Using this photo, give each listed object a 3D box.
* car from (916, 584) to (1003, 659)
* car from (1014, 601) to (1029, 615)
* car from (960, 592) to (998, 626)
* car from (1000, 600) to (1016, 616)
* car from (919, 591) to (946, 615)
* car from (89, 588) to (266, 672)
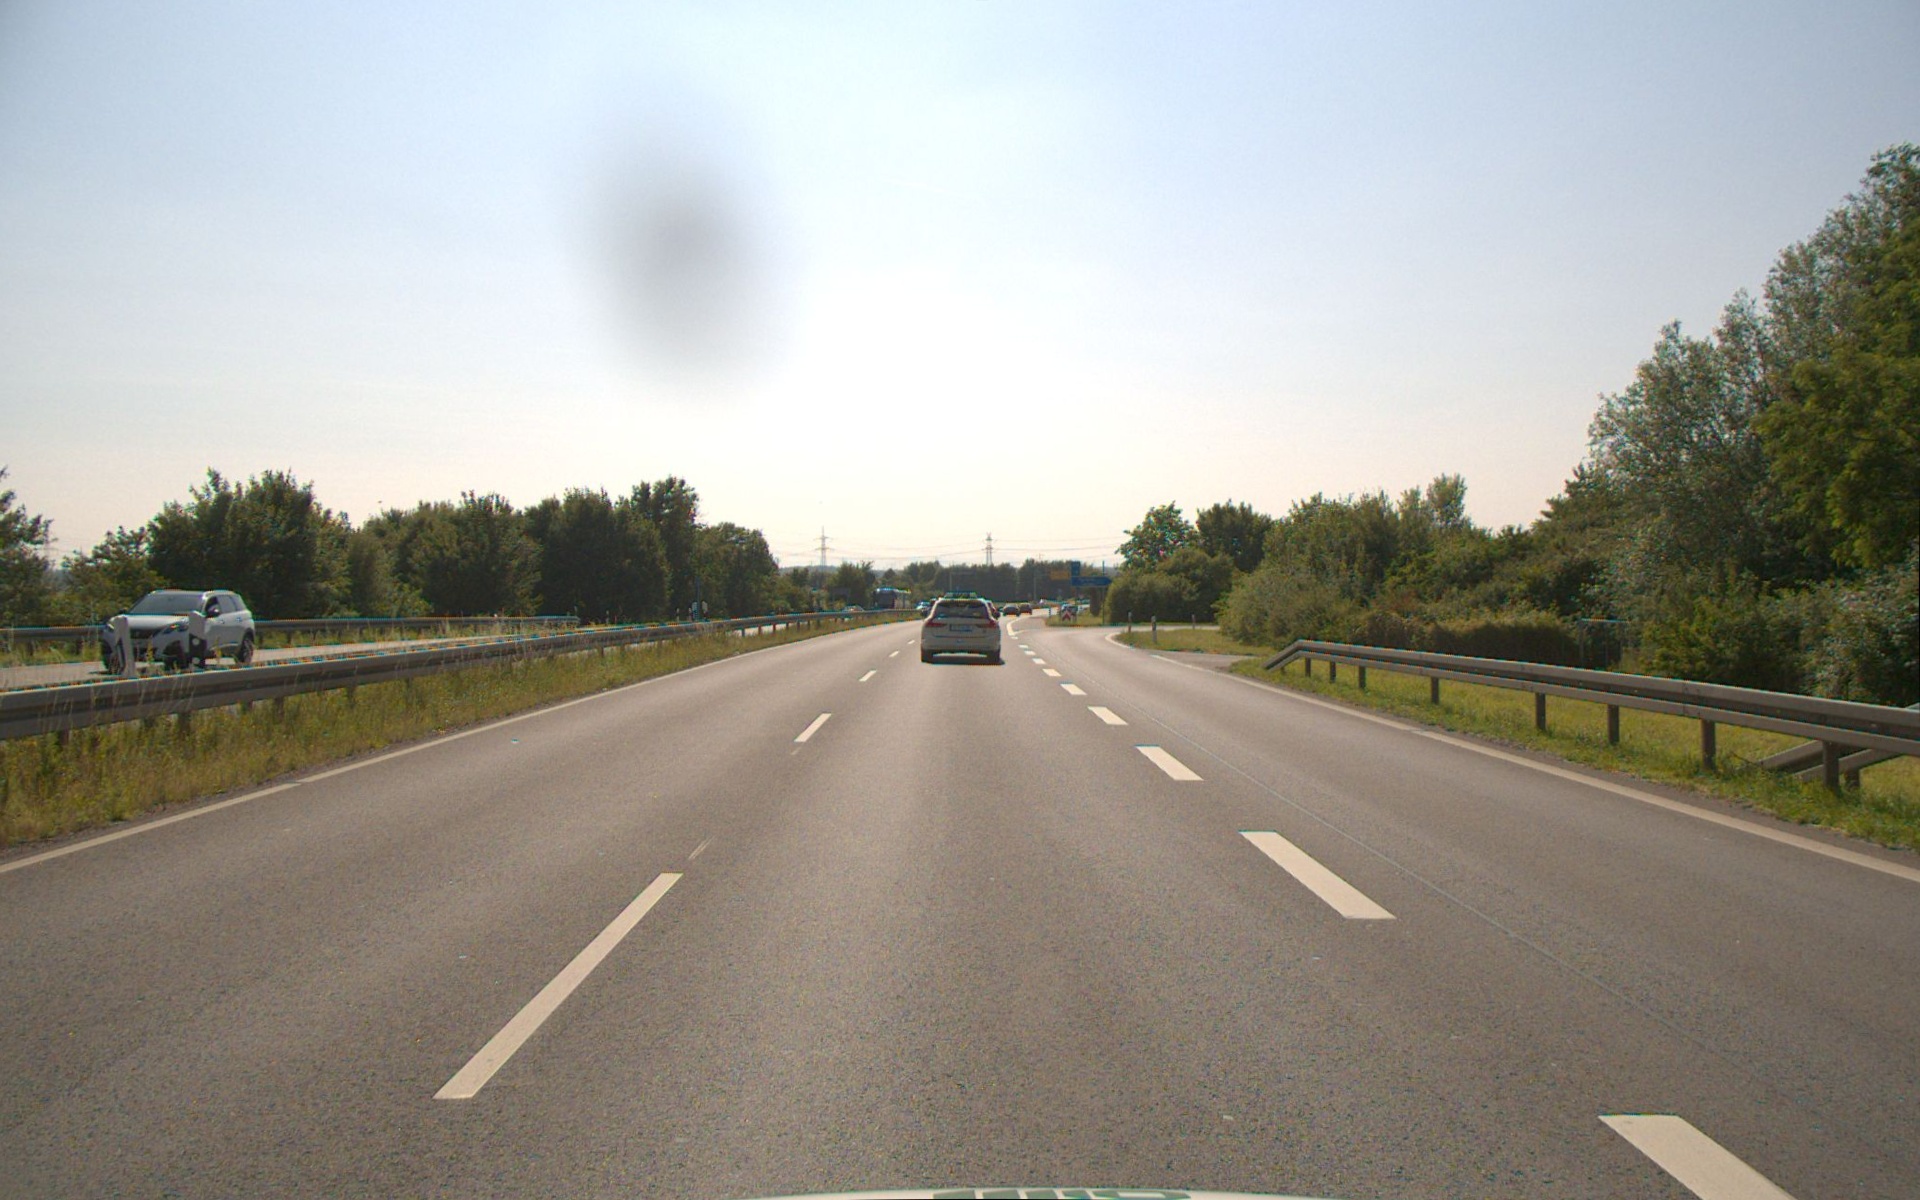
[{"bbox_3d":[-0.065,0.469,39.194,1.918,1.629,4.106,1,1,-1],"label":"car"},{"bbox_3d":[8.161,1.040,219.207,1.803,1.728,4.000,1,0,1],"label":"car"},{"bbox_3d":[0.890,0.402,78.772,1.756,1.570,3.671,1,0,0],"label":"car"},{"bbox_3d":[5.627,0.911,192.288,1.803,1.834,4.001,1,0,3],"label":"car"},{"bbox_3d":[-1.845,0.175,109.025,1.757,1.529,4.042,1,0,-2],"label":"car"},{"bbox_3d":[-16.661,0.587,35.482,1.864,1.648,4.625,1,0,-4],"label":"car"}]
